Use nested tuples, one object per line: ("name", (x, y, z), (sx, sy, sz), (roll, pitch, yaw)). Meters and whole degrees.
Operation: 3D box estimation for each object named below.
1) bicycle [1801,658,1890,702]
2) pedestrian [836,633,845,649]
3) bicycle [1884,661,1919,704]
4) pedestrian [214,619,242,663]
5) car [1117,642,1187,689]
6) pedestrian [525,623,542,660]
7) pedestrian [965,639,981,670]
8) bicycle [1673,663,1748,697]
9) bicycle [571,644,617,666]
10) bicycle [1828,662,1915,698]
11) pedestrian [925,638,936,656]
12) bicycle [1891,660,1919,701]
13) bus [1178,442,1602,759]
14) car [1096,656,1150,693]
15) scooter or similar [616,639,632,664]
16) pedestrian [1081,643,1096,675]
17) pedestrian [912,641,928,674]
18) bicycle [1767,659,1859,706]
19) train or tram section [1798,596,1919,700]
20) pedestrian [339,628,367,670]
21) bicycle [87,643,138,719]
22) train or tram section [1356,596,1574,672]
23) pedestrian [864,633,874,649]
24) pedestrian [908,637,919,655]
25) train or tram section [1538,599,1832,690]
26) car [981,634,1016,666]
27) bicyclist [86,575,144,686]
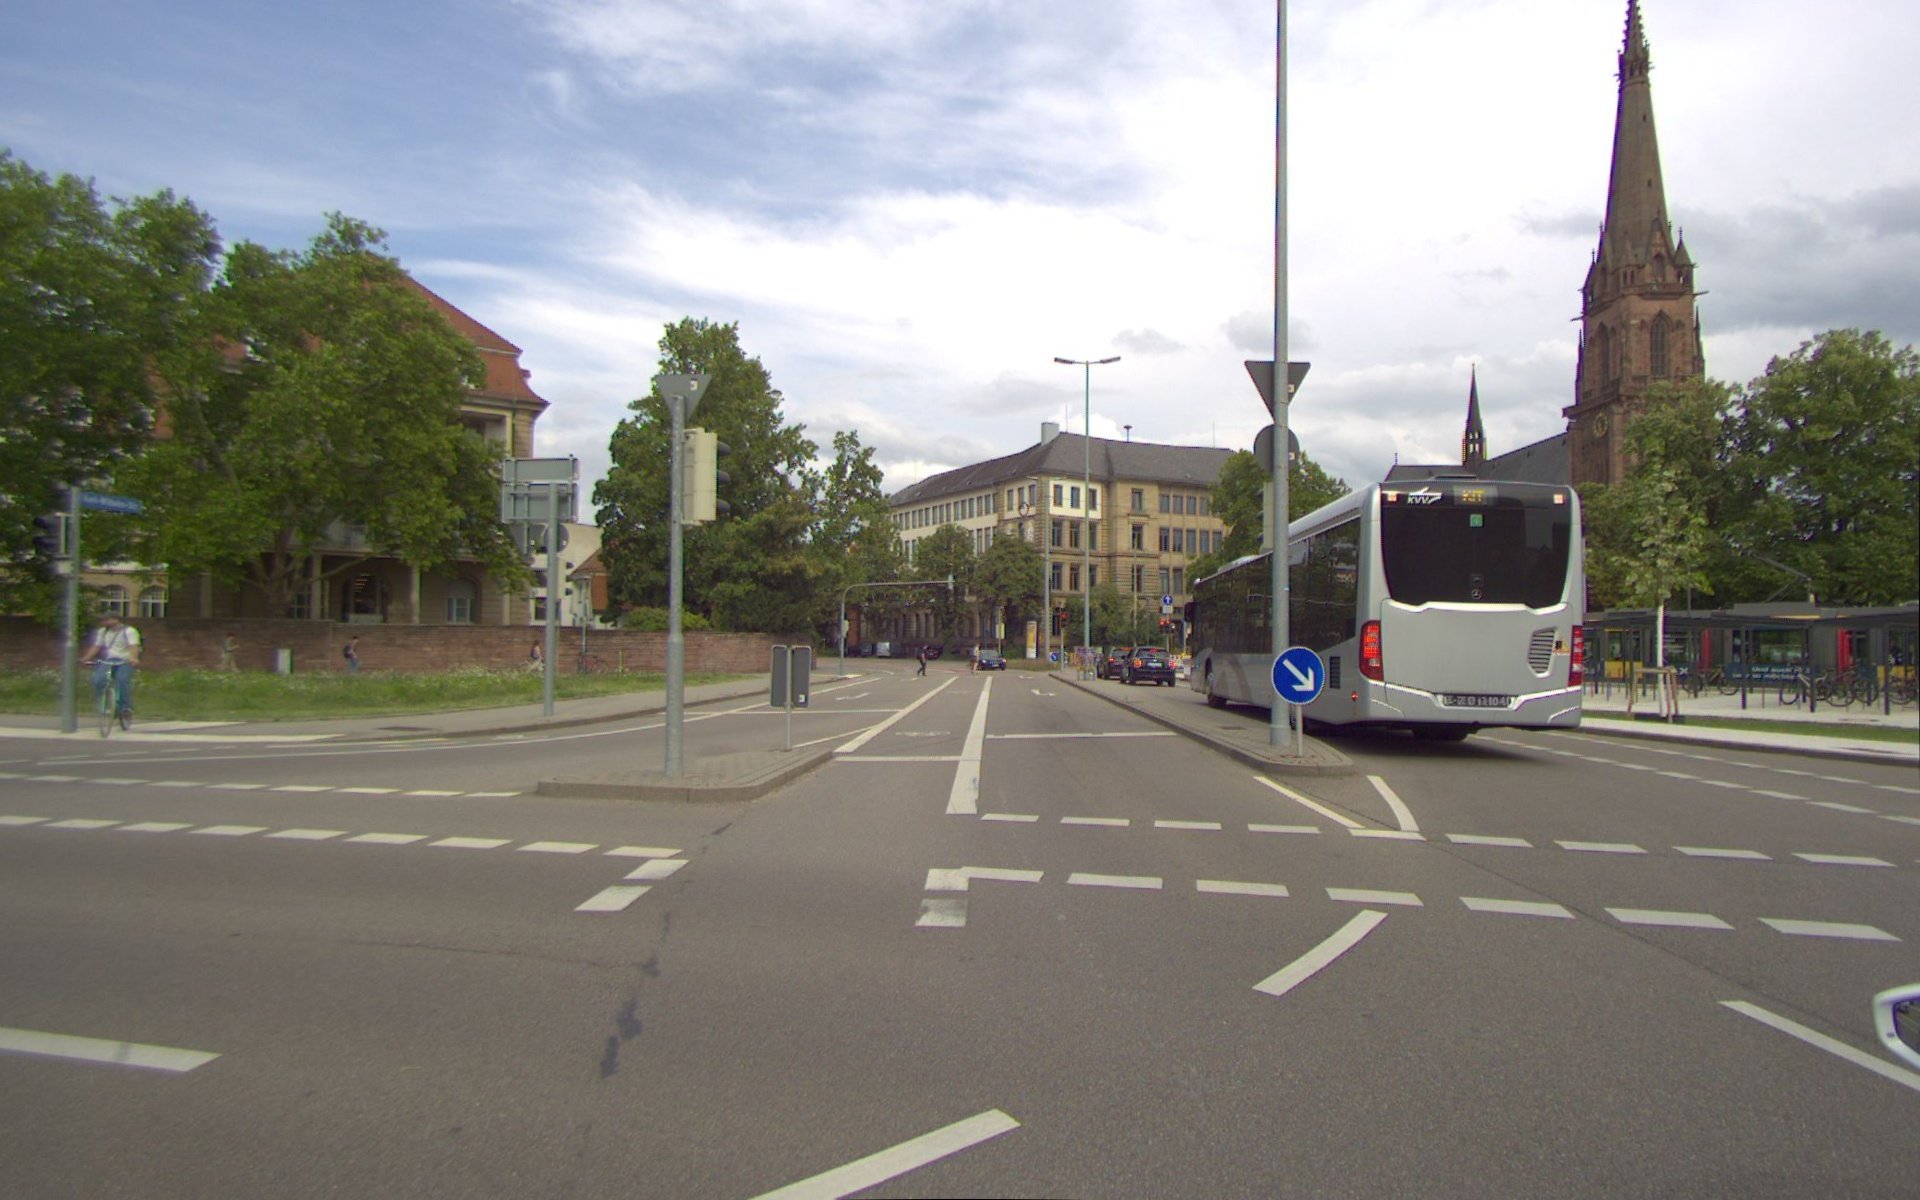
("bicycle", (26.659, 2.379, 30.256), (0.579, 1.171, 1.942), (1, 0, -41))
("pedestrian", (-15.367, 5.275, 129.554), (0.877, 2.040, 1.003), (2, -2, -24))
("bicycle", (27.634, 2.388, 28.566), (0.579, 1.171, 1.942), (1, 0, -41))
("pedestrian", (-28.483, 1.581, 39.095), (0.569, 1.677, 0.778), (1, 0, 40))
("car", (7.210, 2.445, 38.124), (1.960, 1.506, 4.000), (1, 0, 1))
("pedestrian", (-19.542, 1.887, 46.028), (0.623, 1.677, 0.526), (1, 0, -35))
("pedestrian", (0.762, 3.121, 57.539), (0.783, 1.734, 0.840), (1, 0, 7))
("bicycle", (25.467, 2.702, 34.127), (0.578, 0.968, 1.947), (1, 0, -35))
("bicycle", (-17.591, 2.631, 48.261), (1.911, 1.018, 0.770), (1, 0, -40))
("bicycle", (28.653, 2.508, 31.597), (0.578, 0.983, 1.947), (1, 0, -35))
("pedestrian", (-3.210, 5.171, 110.773), (0.877, 2.040, 1.003), (2, -2, -24))
("bicycle", (28.714, 2.407, 29.527), (0.579, 1.171, 1.942), (1, 0, -41))
("bus", (6.288, 0.385, 18.213), (2.659, 3.483, 14.195), (1, -3, 5))
("car", (7.347, 3.344, 45.697), (1.960, 1.380, 4.275), (1, 0, 3))
("scooter or similar", (-16.556, 2.530, 49.492), (0.511, 1.154, 1.516), (1, 0, -11))
("pedestrian", (7.076, 3.250, 55.320), (0.783, 1.734, 0.840), (1, 0, 7))
("pedestrian", (-2.192, 3.137, 55.108), (0.783, 1.734, 0.840), (1, 0, 7))
("bicycle", (24.370, 2.340, 28.718), (0.579, 1.171, 1.942), (1, 0, -41))
("train or tram section", (34.458, 1.630, 33.266), (3.029, 3.496, 9.840), (1, 0, -33))
("pedestrian", (-24.888, 1.985, 41.187), (0.568, 1.677, 0.779), (1, 0, 35))
("bicycle", (-12.417, 1.157, 14.703), (0.502, 0.948, 1.948), (3, -2, -41))
("train or tram section", (24.358, 1.519, 49.140), (3.029, 3.321, 9.285), (1, 0, -33))
("pedestrian", (-11.291, 5.086, 124.862), (0.877, 2.040, 1.003), (2, -2, -24))
("pedestrian", (-5.262, 5.228, 114.014), (0.877, 2.040, 1.003), (2, -2, -24))
("train or tram section", (29.360, 1.645, 41.308), (3.029, 3.256, 9.345), (1, 0, -33))
("car", (2.623, 3.469, 70.077), (1.962, 2.040, 3.997), (1, 0, -5))
("bicyclist", (-12.440, 0.444, 14.789), (0.575, 1.576, 0.788), (3, -1, -41))
